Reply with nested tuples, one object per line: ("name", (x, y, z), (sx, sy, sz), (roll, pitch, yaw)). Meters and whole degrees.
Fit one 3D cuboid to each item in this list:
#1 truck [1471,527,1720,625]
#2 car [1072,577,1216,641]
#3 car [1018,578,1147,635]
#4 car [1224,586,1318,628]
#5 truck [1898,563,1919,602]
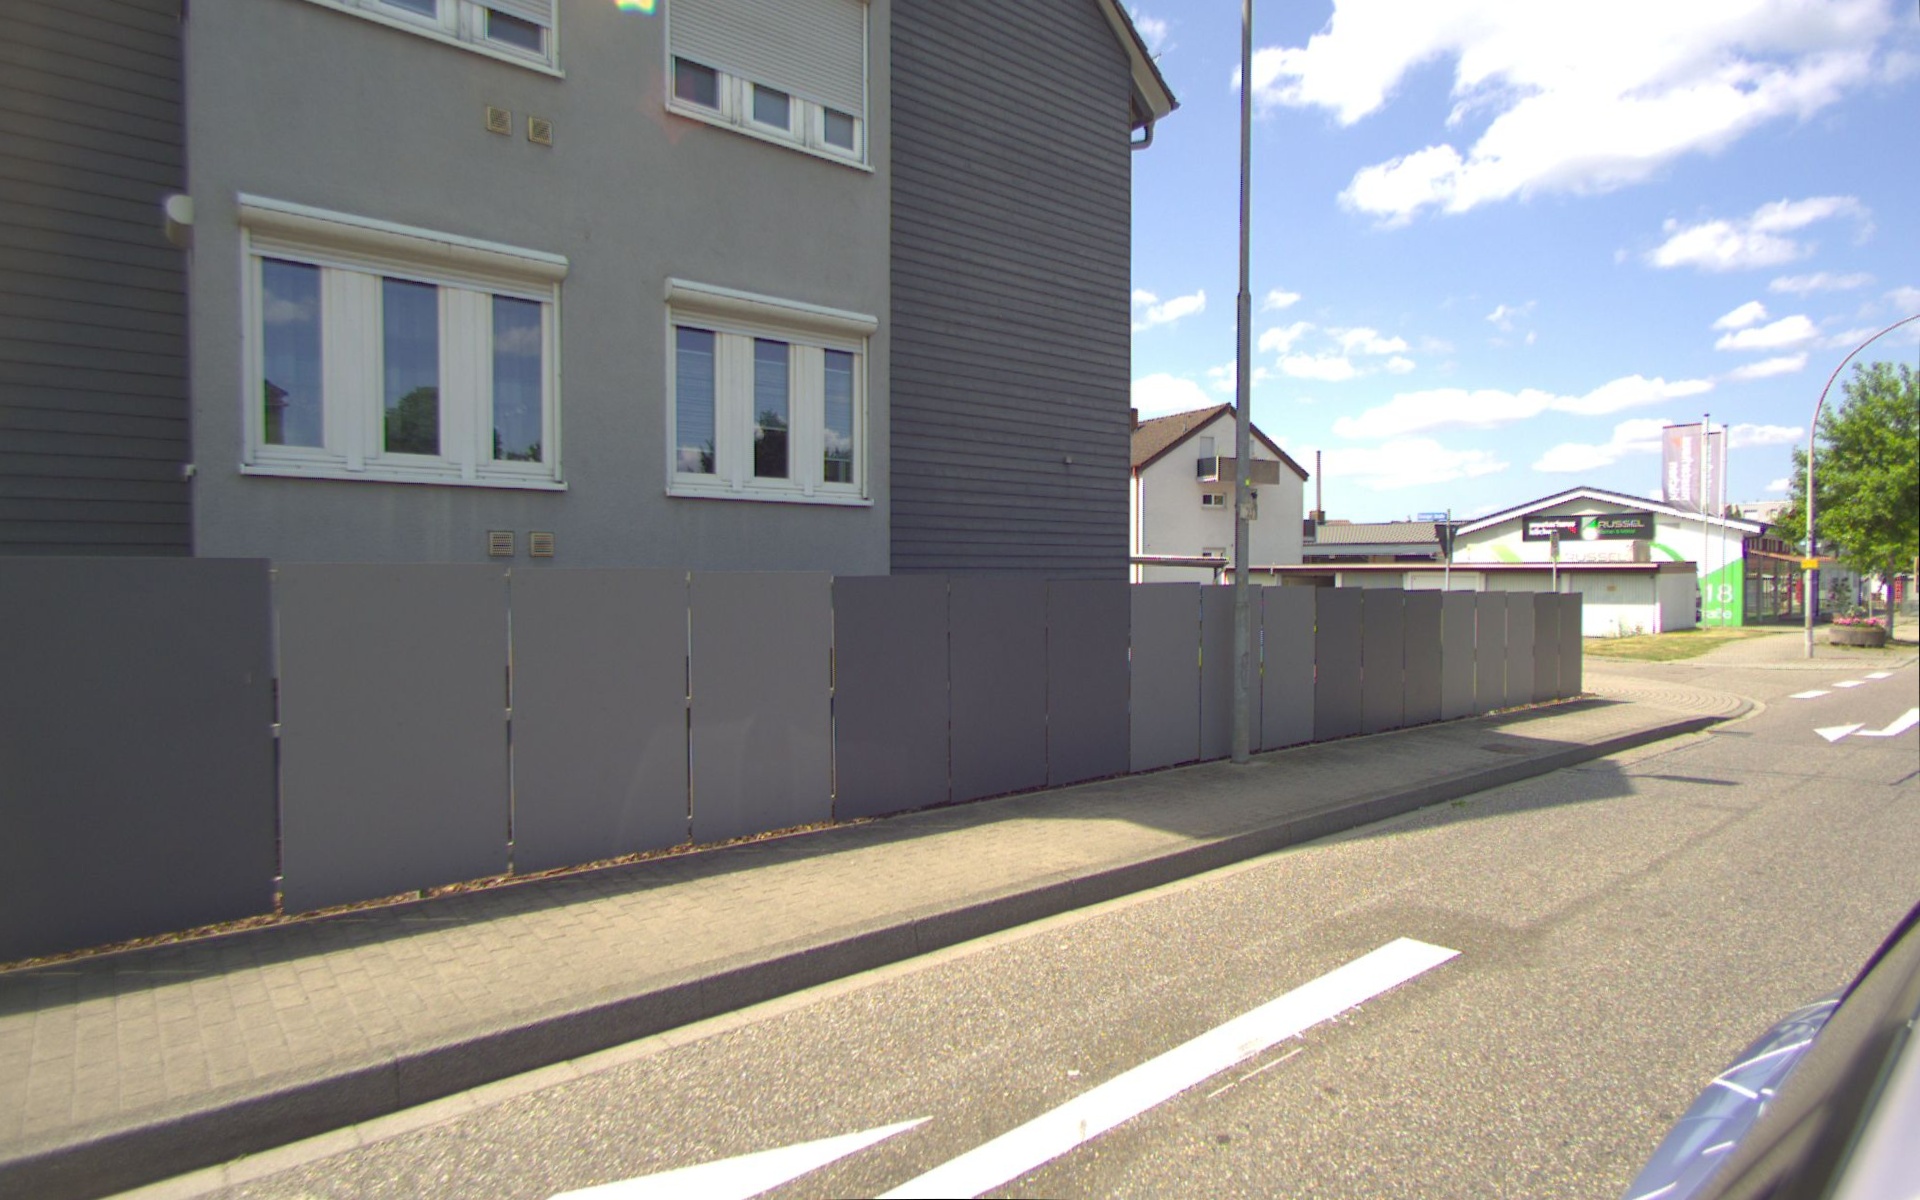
("truck", (25.591, -0.948, 41.176), (2.633, 3.617, 8.180), (-2, 2, -42))
("car", (5.287, 0.274, 28.782), (4.139, 1.669, 1.741), (2, 0, -40))
("car", (3.742, 0.217, 30.725), (3.784, 1.607, 1.741), (2, 0, -40))
("car", (12.339, 0.229, 40.006), (4.060, 1.522, 1.678), (-1, 1, -41))
("truck", (72.560, -1.320, 76.196), (2.571, 2.795, 6.240), (3, 3, 41))
